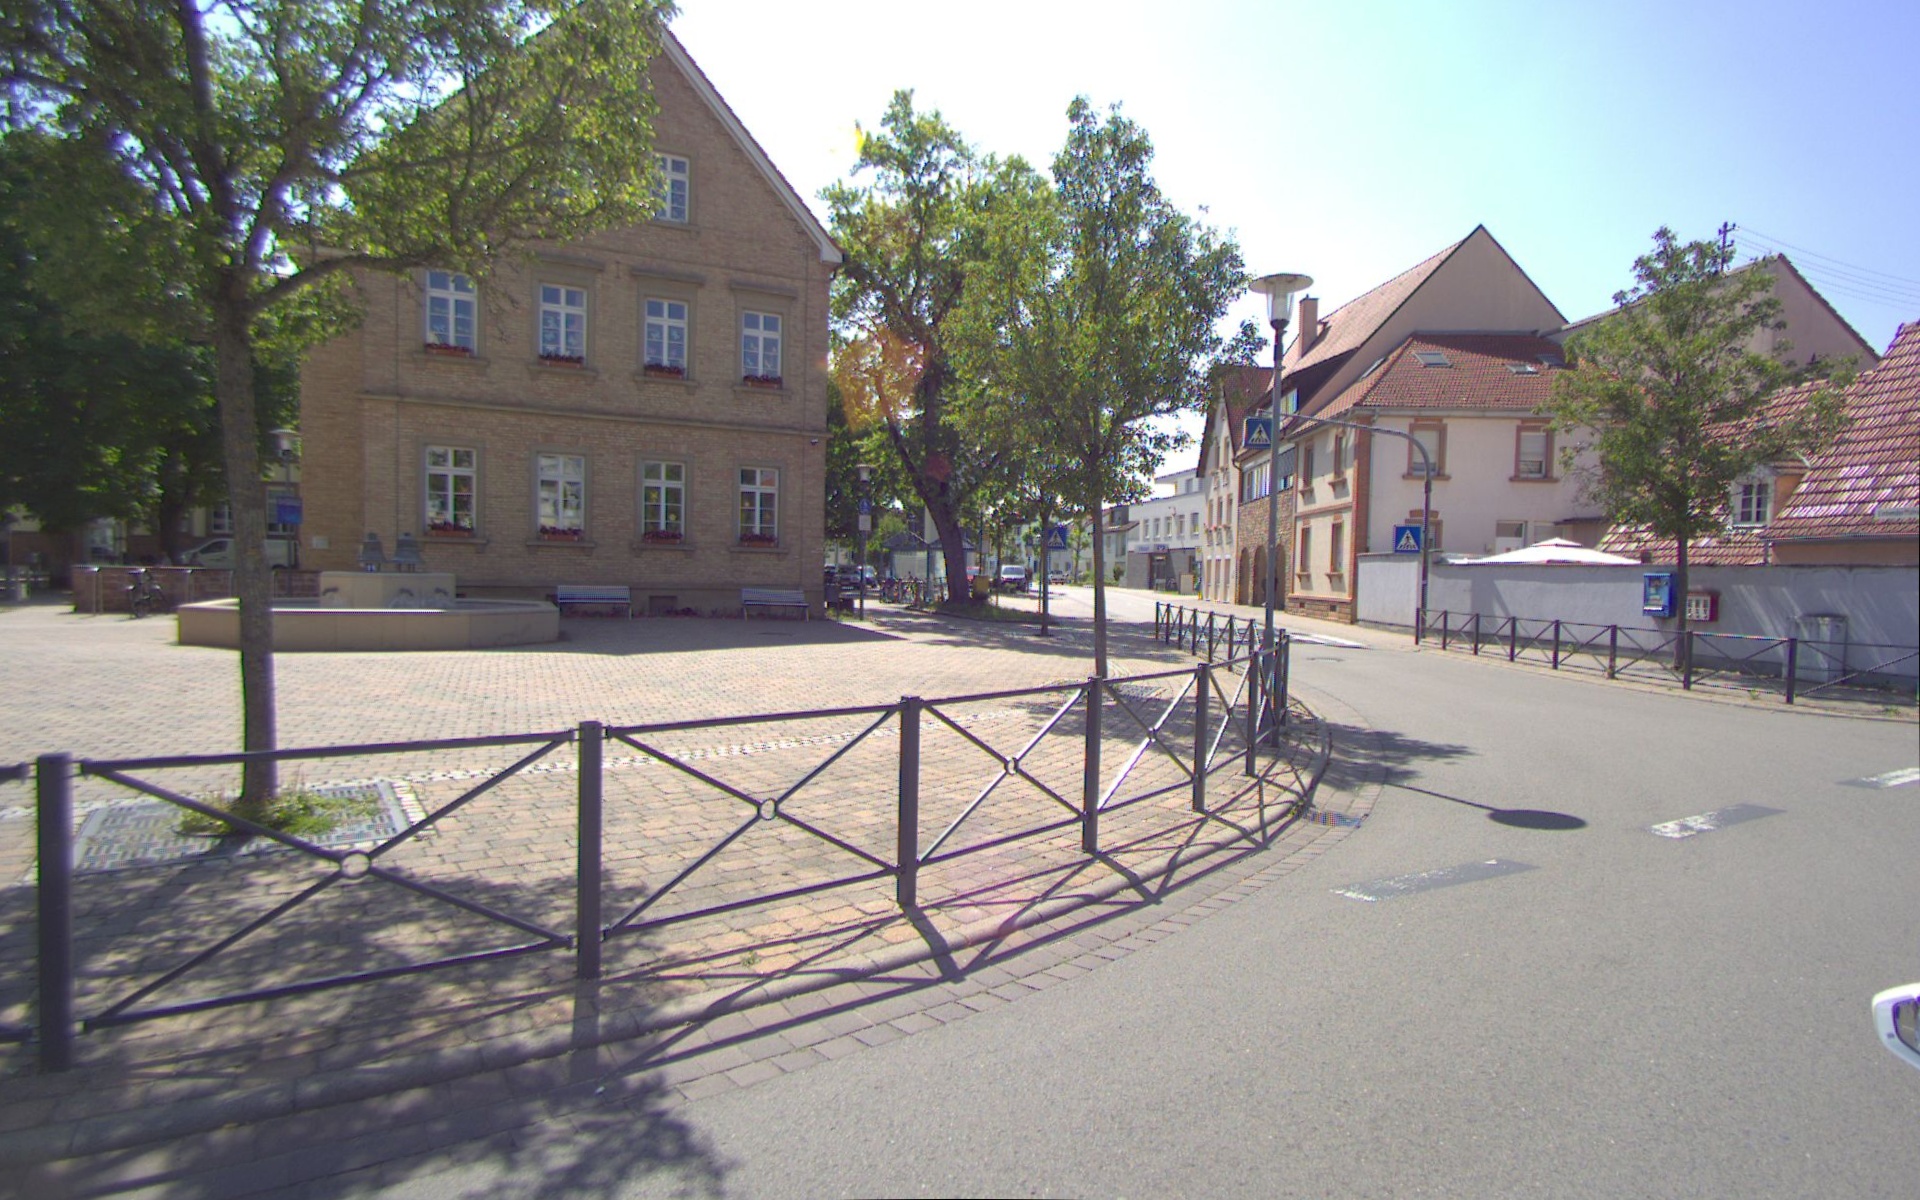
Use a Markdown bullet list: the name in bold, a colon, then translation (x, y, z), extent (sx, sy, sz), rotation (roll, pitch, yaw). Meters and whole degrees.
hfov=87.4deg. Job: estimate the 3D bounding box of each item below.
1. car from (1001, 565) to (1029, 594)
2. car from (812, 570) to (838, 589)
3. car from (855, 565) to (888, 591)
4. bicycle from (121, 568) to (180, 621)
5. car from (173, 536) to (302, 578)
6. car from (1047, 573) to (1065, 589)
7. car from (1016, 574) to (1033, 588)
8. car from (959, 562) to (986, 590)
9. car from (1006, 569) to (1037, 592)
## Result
- **car**: translation (3.686, -1.371, 67.759), extent (1.746, 1.818, 4.000), rotation (2, 2, 2)
- **car**: translation (-9.090, -1.370, 67.324), extent (1.559, 1.164, 3.071), rotation (1, 1, -11)
- **car**: translation (-5.952, -1.478, 67.371), extent (1.963, 1.638, 3.994), rotation (2, 2, -8)
- **bicycle**: translation (-17.691, -0.144, 21.991), extent (0.573, 1.019, 1.940), rotation (1, 4, -26)
- **car**: translation (-37.146, -2.185, 51.820), extent (5.217, 1.963, 1.984), rotation (1, 1, -31)
- **car**: translation (10.982, -2.177, 115.624), extent (1.746, 1.804, 4.000), rotation (1, 1, 1)
- **car**: translation (8.333, -2.454, 129.621), extent (1.747, 1.714, 3.997), rotation (1, 1, -4)
- **car**: translation (0.872, -1.624, 67.990), extent (1.746, 1.818, 4.000), rotation (1, 1, 1)
- **car**: translation (4.712, -1.482, 77.648), extent (1.748, 1.668, 3.995), rotation (1, 1, -6)
